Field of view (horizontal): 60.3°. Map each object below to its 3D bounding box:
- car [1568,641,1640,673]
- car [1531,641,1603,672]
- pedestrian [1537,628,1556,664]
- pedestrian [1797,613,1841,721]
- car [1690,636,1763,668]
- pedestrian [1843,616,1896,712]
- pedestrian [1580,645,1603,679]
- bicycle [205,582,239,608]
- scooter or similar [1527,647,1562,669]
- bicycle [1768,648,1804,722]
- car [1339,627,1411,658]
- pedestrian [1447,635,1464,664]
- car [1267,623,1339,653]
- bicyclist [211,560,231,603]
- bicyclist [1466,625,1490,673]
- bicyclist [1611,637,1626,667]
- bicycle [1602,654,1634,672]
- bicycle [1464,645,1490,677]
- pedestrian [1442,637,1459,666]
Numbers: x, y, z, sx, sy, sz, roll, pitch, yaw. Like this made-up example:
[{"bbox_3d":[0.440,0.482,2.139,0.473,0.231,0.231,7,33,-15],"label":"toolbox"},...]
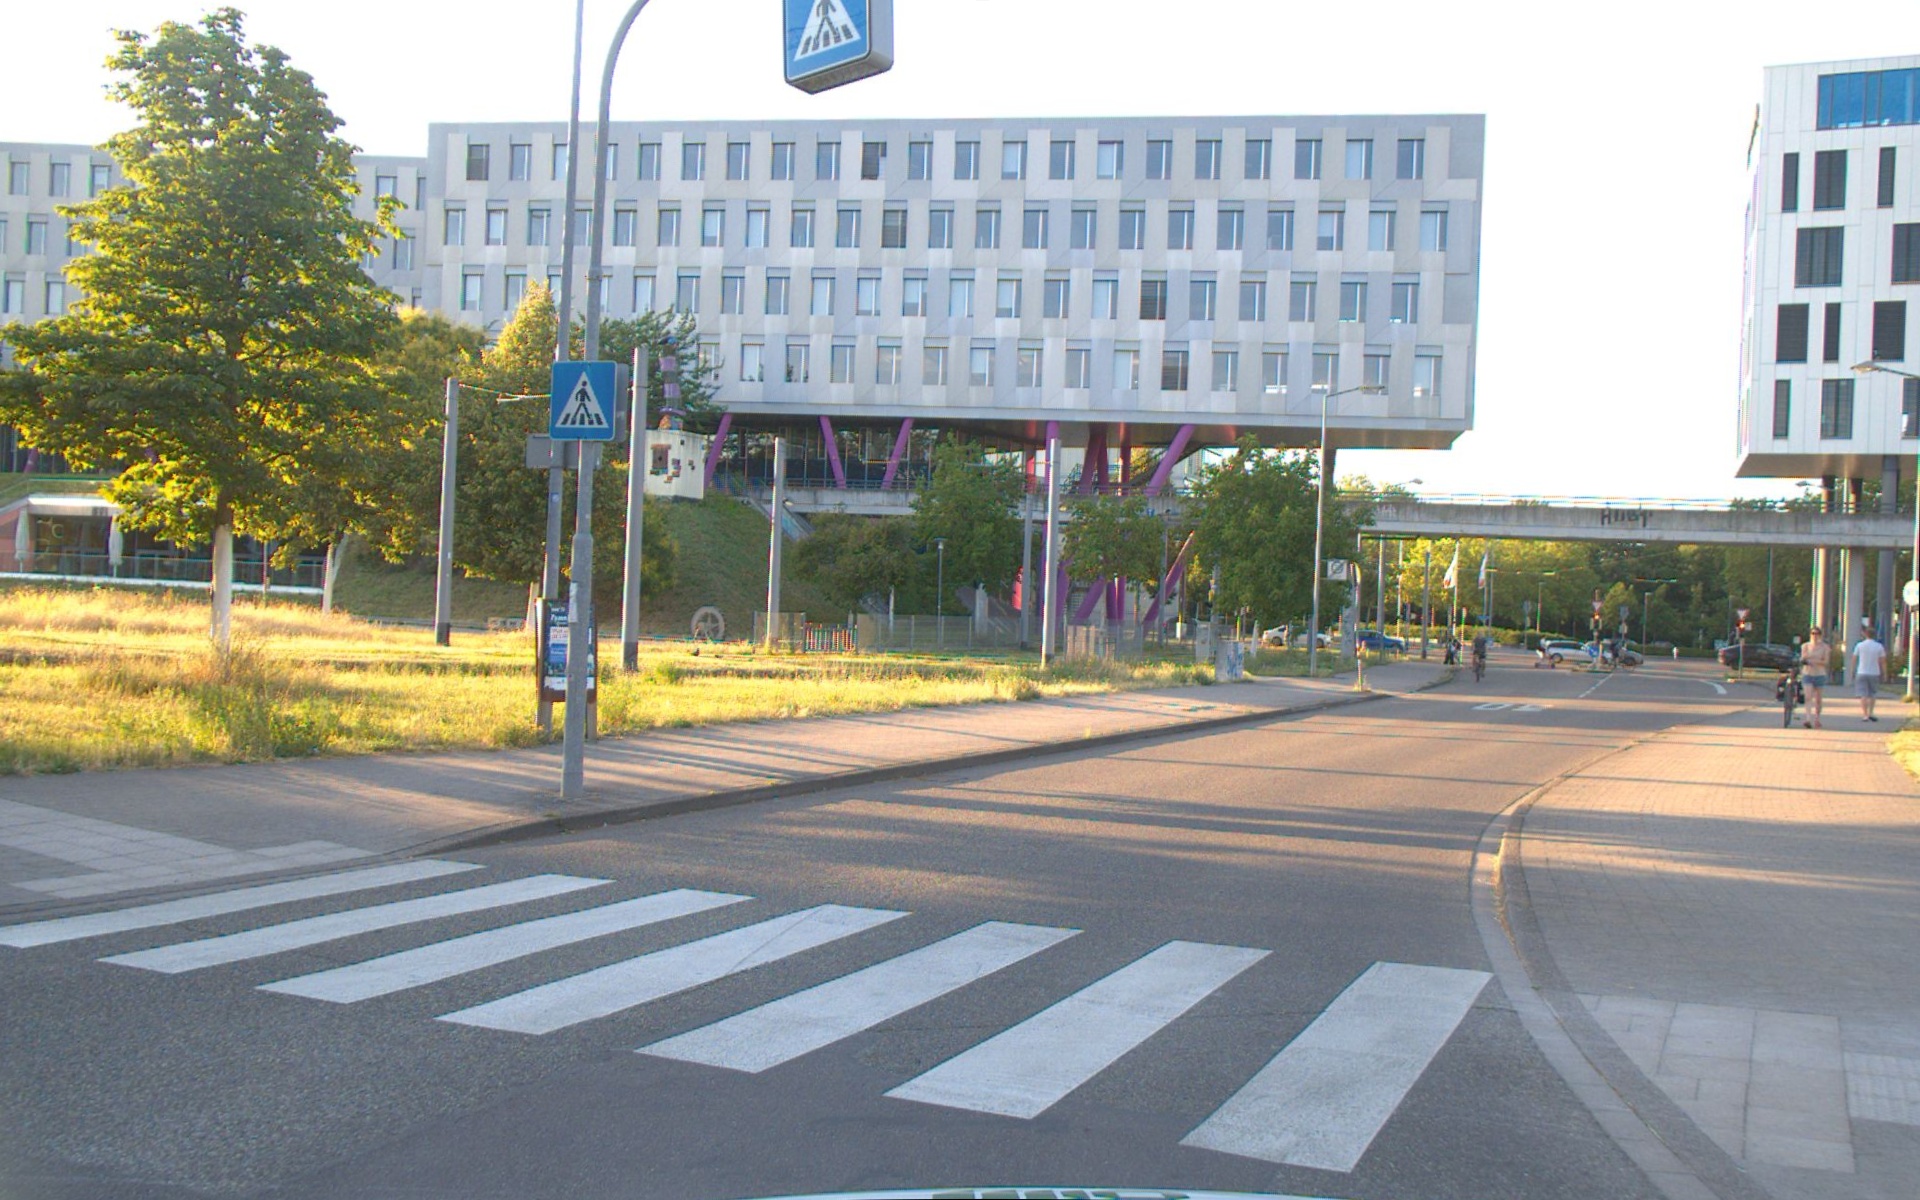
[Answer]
[{"bbox_3d":[42.819,3.752,110.012,4.326,1.831,1.834,2,1,25],"label":"car"},{"bbox_3d":[39.501,3.635,107.626,4.324,1.754,1.834,2,1,22],"label":"car"},{"bbox_3d":[34.611,2.704,97.603,0.889,2.025,0.772,2,1,15],"label":"pedestrian"},{"bbox_3d":[15.007,1.152,28.895,0.583,1.833,0.816,2,1,31],"label":"pedestrian"},{"bbox_3d":[50.867,3.444,109.789,4.326,1.831,1.834,2,1,25],"label":"car"},{"bbox_3d":[17.660,1.231,32.115,0.816,1.797,0.816,2,1,31],"label":"pedestrian"},{"bbox_3d":[35.919,3.518,94.135,1.031,1.866,0.896,2,1,10],"label":"pedestrian"},{"bbox_3d":[-26.998,-0.197,60.467,1.207,0.916,0.431,2,1,25],"label":"bicycle"},{"bbox_3d":[34.497,3.396,97.624,1.820,1.194,0.764,2,1,16],"label":"scooter or similar"},{"bbox_3d":[14.579,1.481,29.181,0.441,1.189,1.937,2,1,29],"label":"bicycle"},{"bbox_3d":[28.045,2.860,111.824,4.613,1.860,1.894,2,1,15],"label":"car"},{"bbox_3d":[29.302,2.934,97.841,0.690,1.693,0.708,2,1,41],"label":"pedestrian"},{"bbox_3d":[24.154,2.675,116.531,4.594,1.860,1.834,2,1,25],"label":"car"},{"bbox_3d":[-27.026,-0.677,60.484,0.502,1.521,0.424,2,1,25],"label":"bicyclist"},{"bbox_3d":[18.662,1.759,59.622,0.603,1.691,1.035,2,1,28],"label":"bicyclist"},{"bbox_3d":[38.182,3.014,95.910,0.751,1.734,0.512,2,1,27],"label":"bicyclist"},{"bbox_3d":[38.166,3.646,95.917,1.660,0.965,0.511,2,1,27],"label":"bicycle"},{"bbox_3d":[18.649,2.188,59.627,0.528,1.061,1.922,2,1,28],"label":"bicycle"},{"bbox_3d":[28.812,3.007,97.221,0.676,1.652,0.708,2,1,41],"label":"pedestrian"}]
